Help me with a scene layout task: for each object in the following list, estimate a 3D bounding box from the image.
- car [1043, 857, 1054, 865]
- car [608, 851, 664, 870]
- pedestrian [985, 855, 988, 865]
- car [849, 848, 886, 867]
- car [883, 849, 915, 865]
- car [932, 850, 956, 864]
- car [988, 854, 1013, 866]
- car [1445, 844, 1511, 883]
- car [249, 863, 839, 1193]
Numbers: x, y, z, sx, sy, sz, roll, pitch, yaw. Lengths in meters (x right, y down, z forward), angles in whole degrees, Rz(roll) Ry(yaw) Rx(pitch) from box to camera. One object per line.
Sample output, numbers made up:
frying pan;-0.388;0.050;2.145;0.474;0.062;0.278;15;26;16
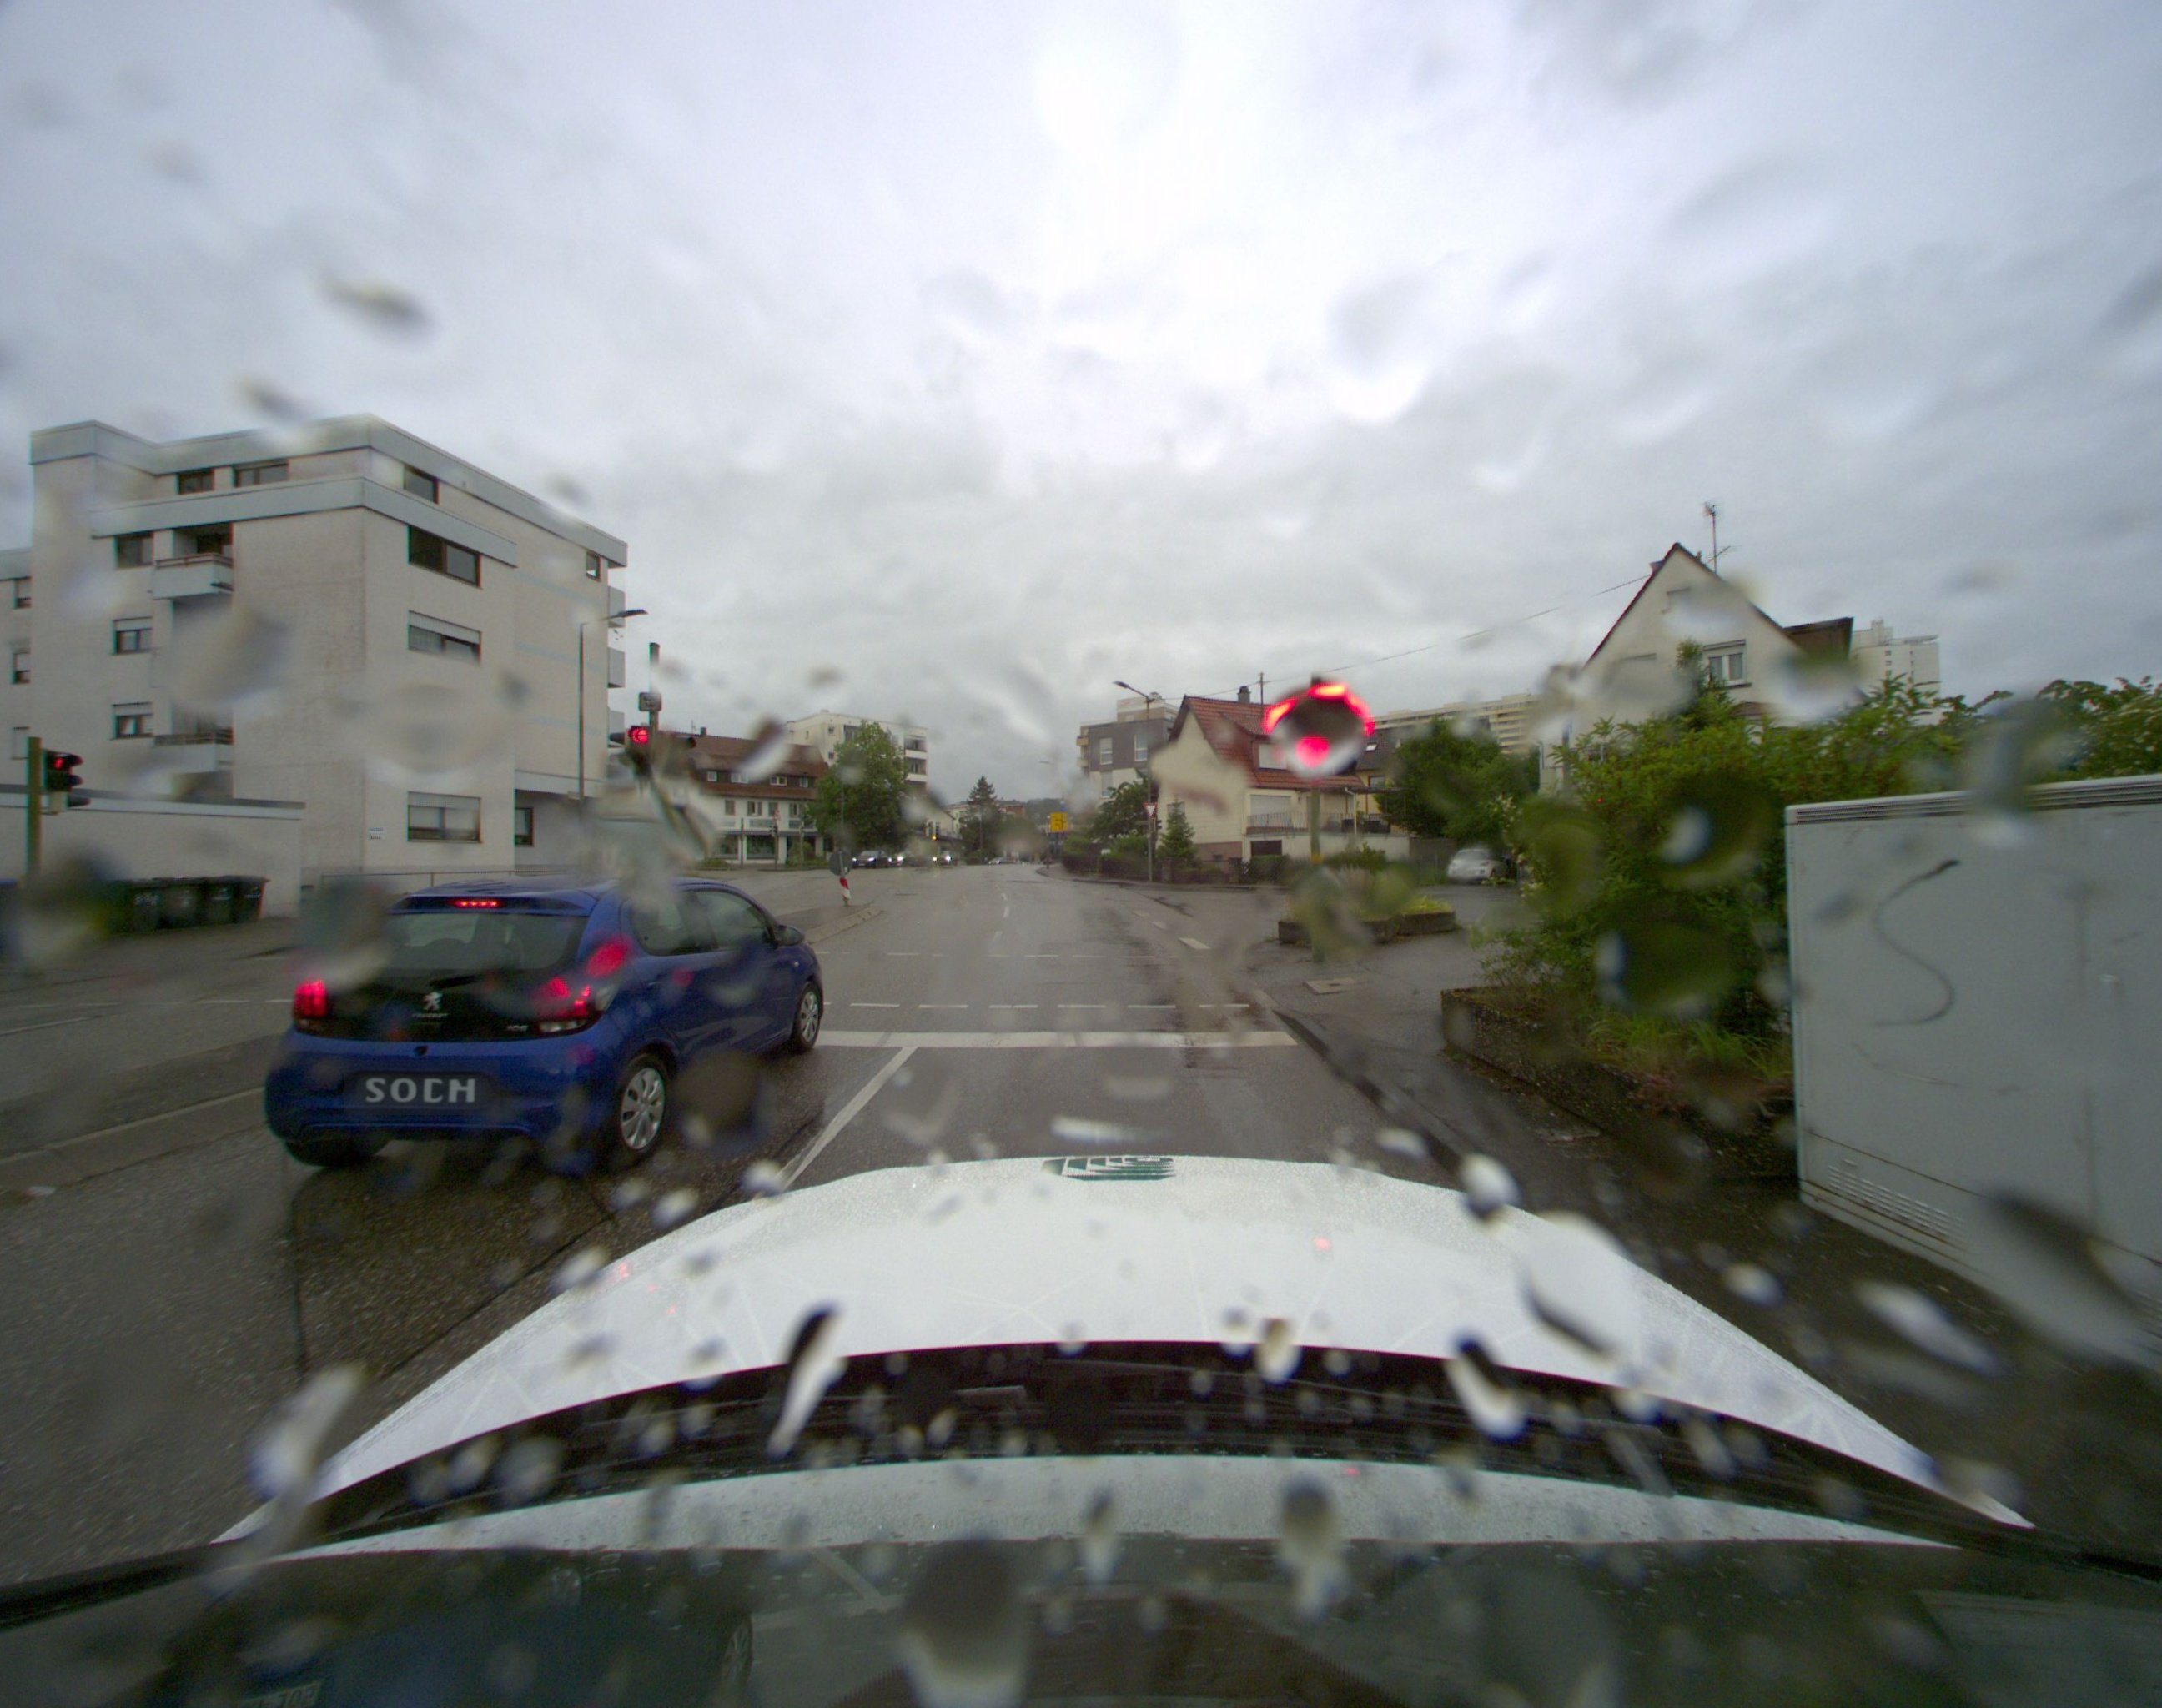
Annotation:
car;-6.326;1.292;160.511;1.806;1.486;4.191;-2;0;2
car;-38.976;0.564;71.391;3.989;1.572;1.850;-1;1;-43
pedestrian;-16.758;1.033;144.746;0.494;1.658;0.435;-1;0;8
car;-16.569;0.257;63.275;1.772;1.420;3.831;-1;0;1
car;-15.727;0.231;70.536;1.709;1.387;4.021;-1;0;1
car;-14.412;0.329;85.768;1.772;1.420;3.831;-1;0;1
car;-13.739;0.994;138.581;3.880;1.815;1.741;-1;1;-39
car;16.898;0.361;34.569;1.723;1.514;4.025;0;0;38
car;-2.891;0.799;5.278;1.573;1.410;3.271;0;0;2
